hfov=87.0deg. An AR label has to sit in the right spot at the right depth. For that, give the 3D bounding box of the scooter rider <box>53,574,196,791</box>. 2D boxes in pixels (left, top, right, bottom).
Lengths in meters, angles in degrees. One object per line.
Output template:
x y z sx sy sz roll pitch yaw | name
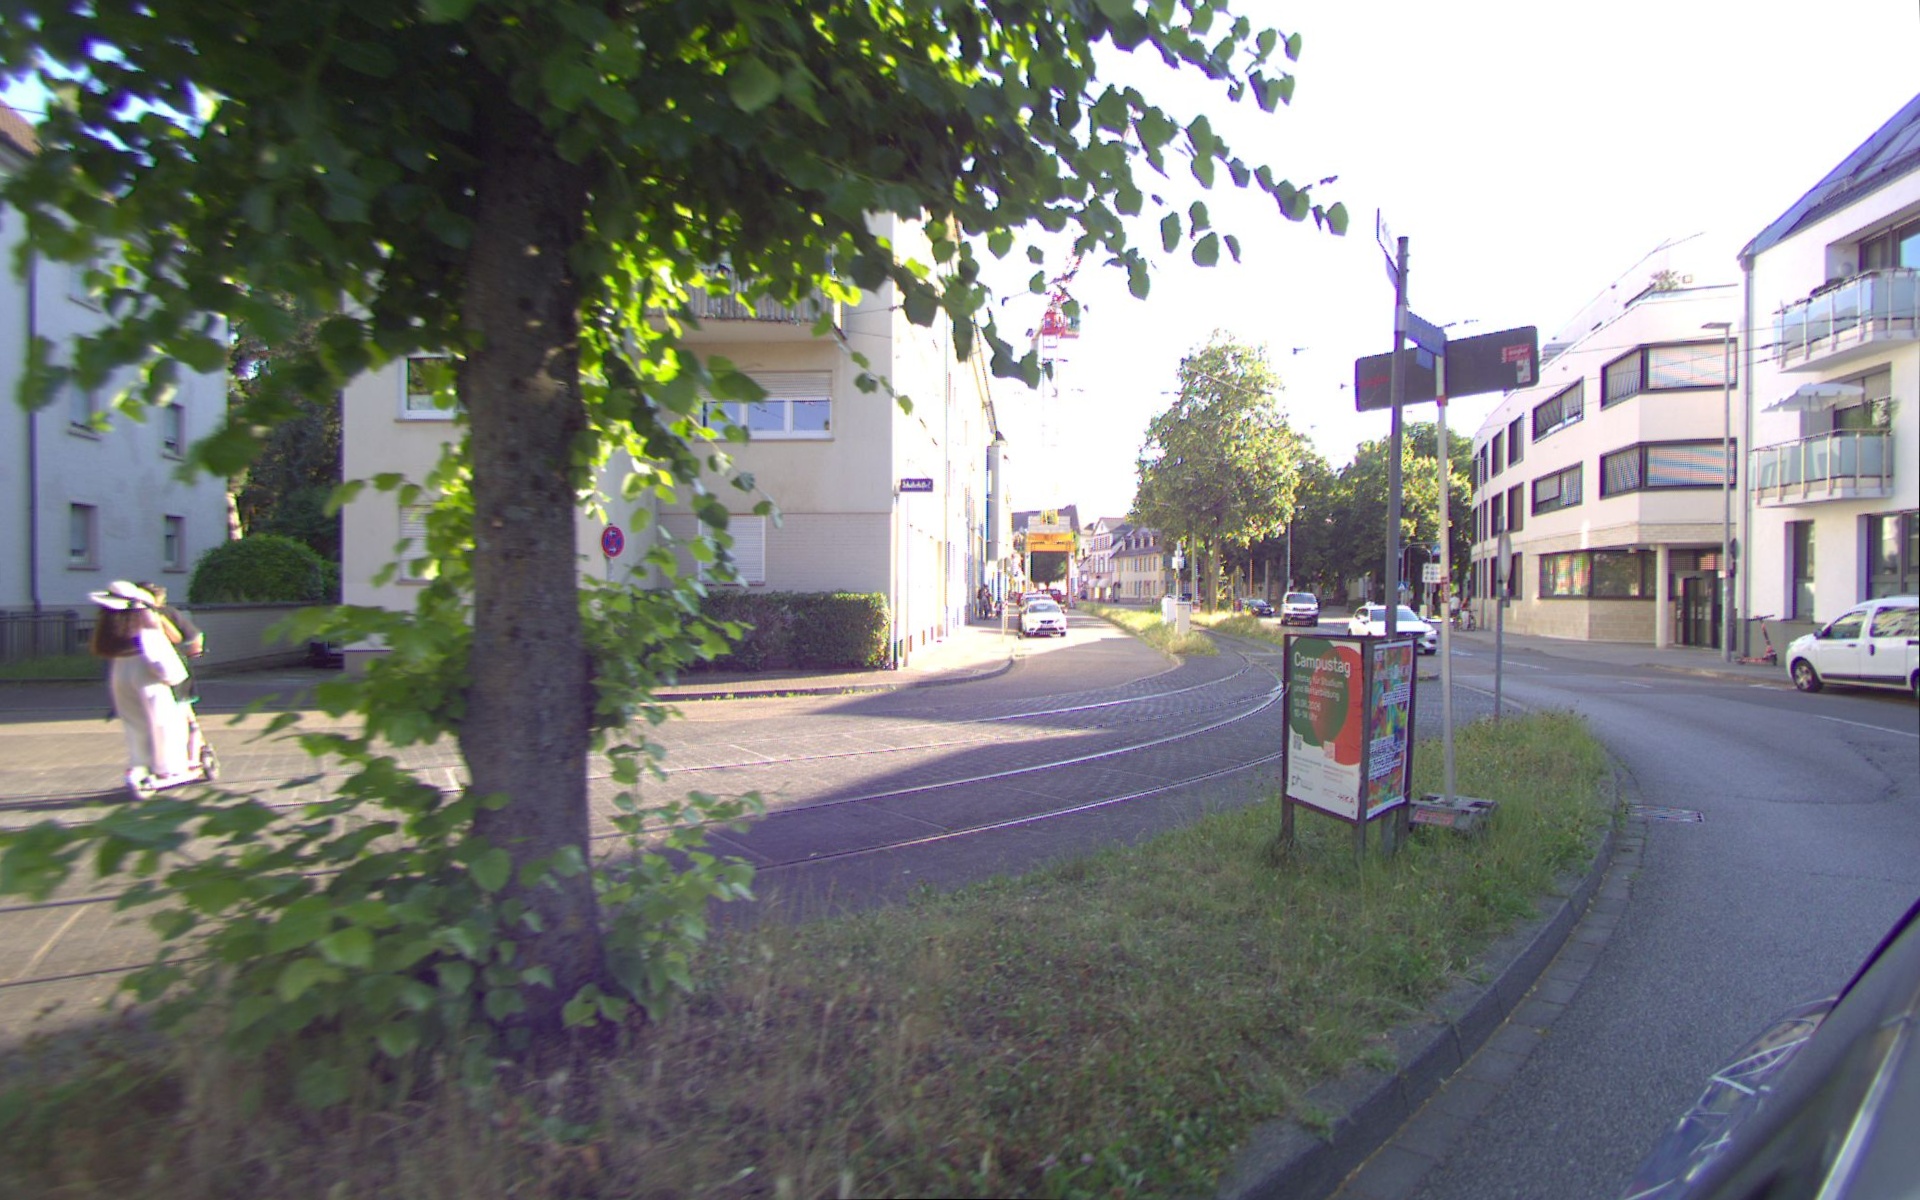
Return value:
-6.761 0.644 8.219 0.642 1.693 0.608 1 0 -3 | scooter rider

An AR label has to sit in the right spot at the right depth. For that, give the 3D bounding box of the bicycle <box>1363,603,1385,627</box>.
20.495 0.728 50.160 0.614 1.095 1.778 1 1 10 | bicycle

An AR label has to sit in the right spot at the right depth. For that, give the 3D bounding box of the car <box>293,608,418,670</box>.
-14.705 0.886 24.836 1.554 1.371 3.904 -1 0 -14 | car

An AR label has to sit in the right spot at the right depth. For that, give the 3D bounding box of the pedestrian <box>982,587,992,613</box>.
1.538 -0.022 57.549 0.516 1.458 0.461 0 0 4 | pedestrian

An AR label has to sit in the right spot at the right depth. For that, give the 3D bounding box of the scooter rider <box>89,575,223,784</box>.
-6.791 0.647 8.574 0.642 1.693 0.608 1 0 -3 | scooter rider

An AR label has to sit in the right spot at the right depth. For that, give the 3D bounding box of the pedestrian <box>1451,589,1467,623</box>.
27.885 0.350 56.562 0.599 1.872 0.987 0 0 17 | pedestrian

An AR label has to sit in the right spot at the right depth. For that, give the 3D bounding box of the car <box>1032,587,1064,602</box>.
11.650 -0.697 134.180 3.996 1.945 1.999 1 0 2 | car

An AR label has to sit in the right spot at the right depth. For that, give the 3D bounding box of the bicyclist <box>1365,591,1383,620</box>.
20.498 0.278 50.139 0.614 1.397 0.798 1 1 10 | bicyclist

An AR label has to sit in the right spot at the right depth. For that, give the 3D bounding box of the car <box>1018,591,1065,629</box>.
3.767 0.415 47.447 1.963 1.591 4.639 1 1 3 | car

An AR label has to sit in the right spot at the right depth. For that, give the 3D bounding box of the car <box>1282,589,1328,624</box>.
19.615 0.361 57.669 1.970 1.878 4.882 1 0 13 | car

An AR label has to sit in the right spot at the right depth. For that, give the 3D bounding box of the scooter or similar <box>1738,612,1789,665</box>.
19.387 0.912 24.443 0.221 1.235 1.156 0 -1 -4 | scooter or similar

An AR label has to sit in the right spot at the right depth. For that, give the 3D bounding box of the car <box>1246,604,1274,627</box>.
22.405 1.126 75.669 1.689 1.637 3.985 0 0 12 | car

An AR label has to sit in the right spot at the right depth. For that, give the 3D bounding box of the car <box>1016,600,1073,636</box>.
3.458 0.705 42.197 1.962 1.404 4.446 1 0 0 | car

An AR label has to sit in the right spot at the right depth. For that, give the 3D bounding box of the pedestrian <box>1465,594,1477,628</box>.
25.383 0.548 50.281 0.471 1.669 0.597 -2 -2 27 | pedestrian

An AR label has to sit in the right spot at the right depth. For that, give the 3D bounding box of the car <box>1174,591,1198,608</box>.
25.115 -0.053 112.477 1.964 1.816 3.997 0 1 4 | car

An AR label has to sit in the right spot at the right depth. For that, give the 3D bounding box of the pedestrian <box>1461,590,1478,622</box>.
28.407 0.332 56.411 0.695 1.735 0.838 0 0 17 | pedestrian

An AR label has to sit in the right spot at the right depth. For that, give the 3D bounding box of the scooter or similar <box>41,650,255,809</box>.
-6.767 1.035 8.526 0.672 1.151 1.407 1 0 -1 | scooter or similar

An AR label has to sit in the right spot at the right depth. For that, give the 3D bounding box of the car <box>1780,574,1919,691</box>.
16.454 0.518 17.263 1.786 1.893 4.324 0 0 7 | car

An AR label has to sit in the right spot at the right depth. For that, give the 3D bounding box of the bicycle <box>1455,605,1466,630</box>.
25.065 0.878 50.656 0.437 1.193 1.949 0 -1 25 | bicycle

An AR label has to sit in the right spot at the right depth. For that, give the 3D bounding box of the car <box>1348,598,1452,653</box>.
13.537 0.741 31.434 1.825 1.482 4.758 -2 0 10 | car
